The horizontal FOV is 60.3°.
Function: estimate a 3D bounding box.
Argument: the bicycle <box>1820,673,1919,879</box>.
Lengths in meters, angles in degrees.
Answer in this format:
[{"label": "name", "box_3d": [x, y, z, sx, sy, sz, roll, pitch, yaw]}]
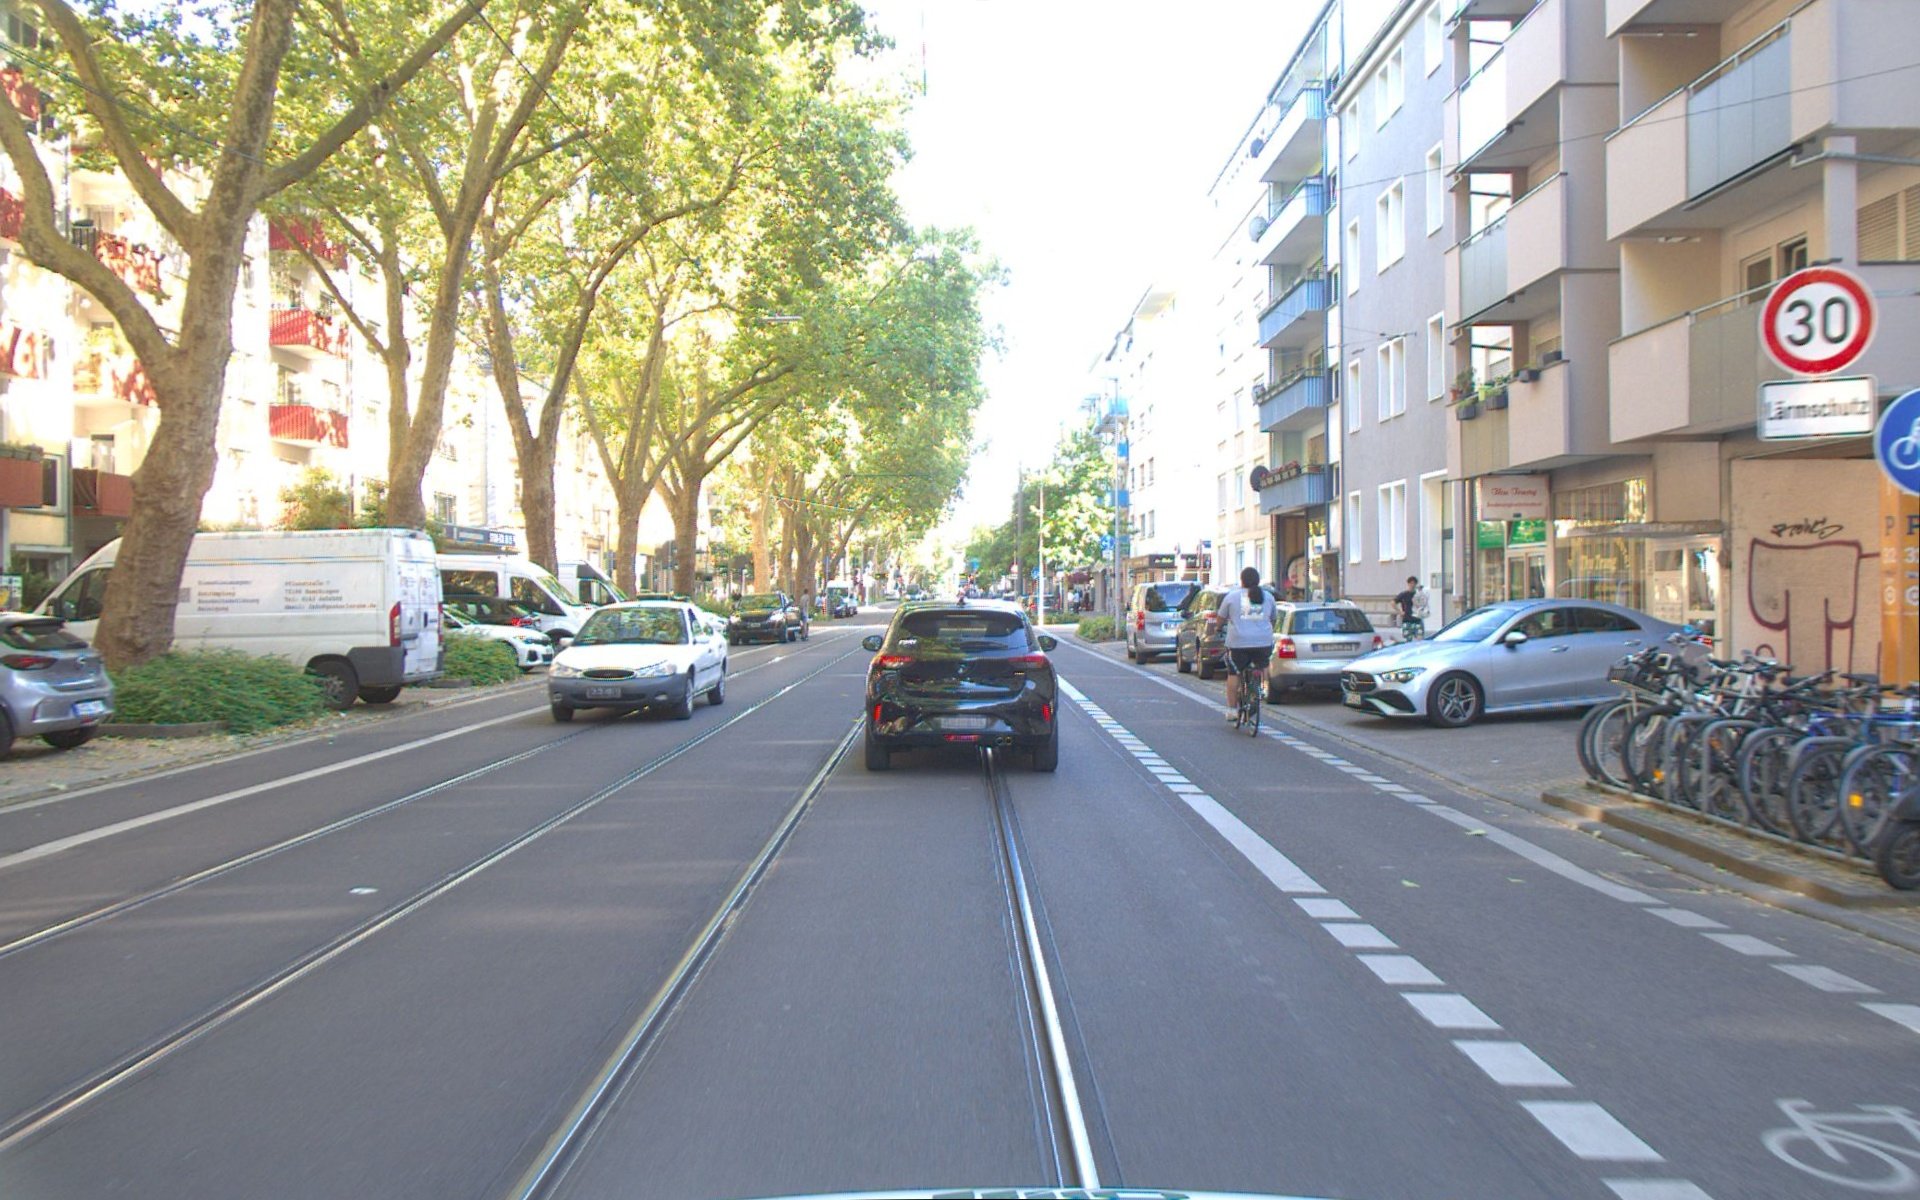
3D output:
[{"label": "bicycle", "box_3d": [5.742, 0.942, 9.232, 1.619, 1.073, 0.457, -2, 0, -1]}]

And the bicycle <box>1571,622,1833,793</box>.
[{"label": "bicycle", "box_3d": [5.732, 0.821, 12.809, 1.786, 1.212, 0.457, -2, 0, -1]}]

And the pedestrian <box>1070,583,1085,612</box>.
[{"label": "pedestrian", "box_3d": [7.204, -0.150, 101.314, 0.752, 1.779, 0.795, -1, 0, 20]}]

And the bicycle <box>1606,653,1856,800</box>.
[{"label": "bicycle", "box_3d": [5.723, 0.932, 12.311, 1.619, 0.983, 0.457, -2, 0, -1]}]

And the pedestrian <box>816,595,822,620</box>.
[{"label": "pedestrian", "box_3d": [-9.048, 0.467, 106.196, 0.339, 1.610, 0.508, 0, 0, -2]}]

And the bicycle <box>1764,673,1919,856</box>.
[{"label": "bicycle", "box_3d": [5.721, 0.952, 9.850, 1.619, 1.004, 0.457, -2, 0, -1]}]

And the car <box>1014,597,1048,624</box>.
[{"label": "car", "box_3d": [4.080, 0.578, 95.790, 1.683, 1.516, 3.680, -1, 0, -2]}]

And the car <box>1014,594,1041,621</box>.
[{"label": "car", "box_3d": [4.067, 0.439, 99.913, 1.617, 1.601, 3.084, -1, 0, 1]}]

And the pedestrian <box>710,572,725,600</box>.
[{"label": "pedestrian", "box_3d": [-14.214, -0.816, 97.104, 0.830, 1.661, 0.643, -1, 0, -6]}]

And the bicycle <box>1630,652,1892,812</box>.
[{"label": "bicycle", "box_3d": [5.706, 0.932, 11.822, 1.619, 1.038, 0.457, -2, 0, -1]}]

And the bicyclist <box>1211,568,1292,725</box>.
[{"label": "bicyclist", "box_3d": [3.394, 0.528, 19.342, 0.770, 1.790, 0.914, 0, 0, -1]}]

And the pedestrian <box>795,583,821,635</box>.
[{"label": "pedestrian", "box_3d": [-5.238, 0.303, 56.820, 0.699, 1.765, 0.910, -2, 0, -14]}]

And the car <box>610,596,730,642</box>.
[{"label": "car", "box_3d": [-10.172, 0.652, 58.221, 3.906, 1.548, 1.770, 0, 0, -2]}]

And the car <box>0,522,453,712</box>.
[{"label": "car", "box_3d": [-10.417, 0.218, 23.682, 5.623, 2.580, 2.162, 0, 0, 0]}]

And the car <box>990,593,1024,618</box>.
[{"label": "car", "box_3d": [3.231, 0.354, 114.660, 1.954, 1.668, 3.997, -1, 0, -4]}]

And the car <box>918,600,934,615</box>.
[{"label": "car", "box_3d": [-3.998, 0.878, 193.745, 1.714, 1.680, 4.001, -1, 0, 1]}]

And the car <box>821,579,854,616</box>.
[{"label": "car", "box_3d": [-9.037, -0.204, 122.559, 2.049, 2.629, 5.996, -1, 0, -1]}]

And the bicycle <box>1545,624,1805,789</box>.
[{"label": "bicycle", "box_3d": [5.733, 0.846, 13.306, 1.853, 1.212, 0.457, -2, 0, -1]}]

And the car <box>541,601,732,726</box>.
[{"label": "car", "box_3d": [-3.989, 0.724, 21.058, 1.683, 1.382, 4.468, -1, 0, -2]}]

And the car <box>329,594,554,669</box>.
[{"label": "car", "box_3d": [-11.161, 0.650, 35.808, 4.281, 1.566, 1.872, 0, 0, -1]}]

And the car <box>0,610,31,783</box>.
[{"label": "car", "box_3d": [-10.427, 0.873, 14.152, 3.905, 1.522, 1.830, -1, 0, 0]}]

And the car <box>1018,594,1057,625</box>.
[{"label": "car", "box_3d": [4.203, 0.498, 90.335, 1.684, 1.601, 4.081, -1, 0, -4]}]

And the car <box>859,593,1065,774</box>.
[{"label": "car", "box_3d": [-0.002, 0.682, 15.280, 1.645, 1.447, 3.627, 1, 0, -1]}]

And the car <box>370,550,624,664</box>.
[{"label": "car", "box_3d": [-10.610, 0.154, 38.188, 5.250, 2.521, 2.057, -1, 0, 0]}]

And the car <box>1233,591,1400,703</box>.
[{"label": "car", "box_3d": [5.354, 0.647, 25.379, 1.689, 1.552, 4.513, 0, 0, 1]}]

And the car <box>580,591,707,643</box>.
[{"label": "car", "box_3d": [-10.588, 0.558, 55.532, 3.906, 1.676, 1.893, 0, 0, -2]}]

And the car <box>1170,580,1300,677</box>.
[{"label": "car", "box_3d": [5.234, 0.510, 32.003, 1.731, 1.734, 4.282, -1, 0, -1]}]

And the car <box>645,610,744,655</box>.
[{"label": "car", "box_3d": [-9.590, 1.153, 59.877, 3.362, 1.557, 1.786, -1, 0, -3]}]

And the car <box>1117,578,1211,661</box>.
[{"label": "car", "box_3d": [4.957, 0.441, 40.829, 1.820, 1.923, 4.925, -1, 0, 1]}]

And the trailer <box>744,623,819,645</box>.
[{"label": "trailer", "box_3d": [-6.546, 1.236, 61.320, 2.116, 0.643, 6.399, 0, 0, 0]}]

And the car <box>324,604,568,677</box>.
[{"label": "car", "box_3d": [-10.333, 0.803, 33.480, 4.320, 1.409, 1.933, 0, 0, -1]}]

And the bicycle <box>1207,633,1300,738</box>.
[{"label": "bicycle", "box_3d": [3.390, 0.962, 19.274, 0.687, 1.111, 1.990, 1, 0, -1]}]

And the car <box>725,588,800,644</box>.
[{"label": "car", "box_3d": [-6.617, 0.513, 55.883, 1.953, 1.729, 4.484, -2, 0, 0]}]

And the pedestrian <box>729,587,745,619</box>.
[{"label": "pedestrian", "box_3d": [-13.308, 0.164, 98.727, 0.887, 1.901, 0.643, -1, 0, -6]}]

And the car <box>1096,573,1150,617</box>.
[{"label": "car", "box_3d": [6.401, -0.200, 65.397, 1.820, 1.680, 4.001, -1, 0, 1]}]

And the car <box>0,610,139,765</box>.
[{"label": "car", "box_3d": [-10.569, 0.851, 16.677, 3.729, 1.457, 1.705, 0, 0, 2]}]

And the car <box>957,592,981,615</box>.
[{"label": "car", "box_3d": [0.700, 0.260, 127.708, 1.820, 1.680, 4.001, -1, 0, 1]}]

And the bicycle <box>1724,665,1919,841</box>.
[{"label": "bicycle", "box_3d": [5.714, 0.938, 10.361, 1.619, 1.004, 0.457, -2, 0, -1]}]

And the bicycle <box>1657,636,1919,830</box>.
[{"label": "bicycle", "box_3d": [5.745, 0.877, 11.158, 1.757, 1.168, 0.704, -2, 0, -1]}]

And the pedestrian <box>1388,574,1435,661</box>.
[{"label": "pedestrian", "box_3d": [9.141, 0.347, 33.506, 0.741, 1.750, 0.720, -1, 0, -2]}]

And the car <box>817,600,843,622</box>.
[{"label": "car", "box_3d": [-9.141, 0.754, 116.423, 1.719, 1.534, 3.997, -1, 0, -4]}]

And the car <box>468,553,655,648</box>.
[{"label": "car", "box_3d": [-11.253, 0.009, 46.990, 4.845, 2.612, 2.081, -1, 0, -4]}]

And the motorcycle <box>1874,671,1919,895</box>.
[{"label": "motorcycle", "box_3d": [5.653, 0.915, 8.306, 1.781, 1.099, 0.617, -2, 0, 23]}]

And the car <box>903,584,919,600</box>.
[{"label": "car", "box_3d": [-6.932, -1.097, 233.034, 1.954, 2.250, 5.098, -1, 0, -4]}]

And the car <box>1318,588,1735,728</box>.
[{"label": "car", "box_3d": [6.930, 0.664, 20.395, 4.532, 1.462, 1.859, -2, 0, -12]}]
